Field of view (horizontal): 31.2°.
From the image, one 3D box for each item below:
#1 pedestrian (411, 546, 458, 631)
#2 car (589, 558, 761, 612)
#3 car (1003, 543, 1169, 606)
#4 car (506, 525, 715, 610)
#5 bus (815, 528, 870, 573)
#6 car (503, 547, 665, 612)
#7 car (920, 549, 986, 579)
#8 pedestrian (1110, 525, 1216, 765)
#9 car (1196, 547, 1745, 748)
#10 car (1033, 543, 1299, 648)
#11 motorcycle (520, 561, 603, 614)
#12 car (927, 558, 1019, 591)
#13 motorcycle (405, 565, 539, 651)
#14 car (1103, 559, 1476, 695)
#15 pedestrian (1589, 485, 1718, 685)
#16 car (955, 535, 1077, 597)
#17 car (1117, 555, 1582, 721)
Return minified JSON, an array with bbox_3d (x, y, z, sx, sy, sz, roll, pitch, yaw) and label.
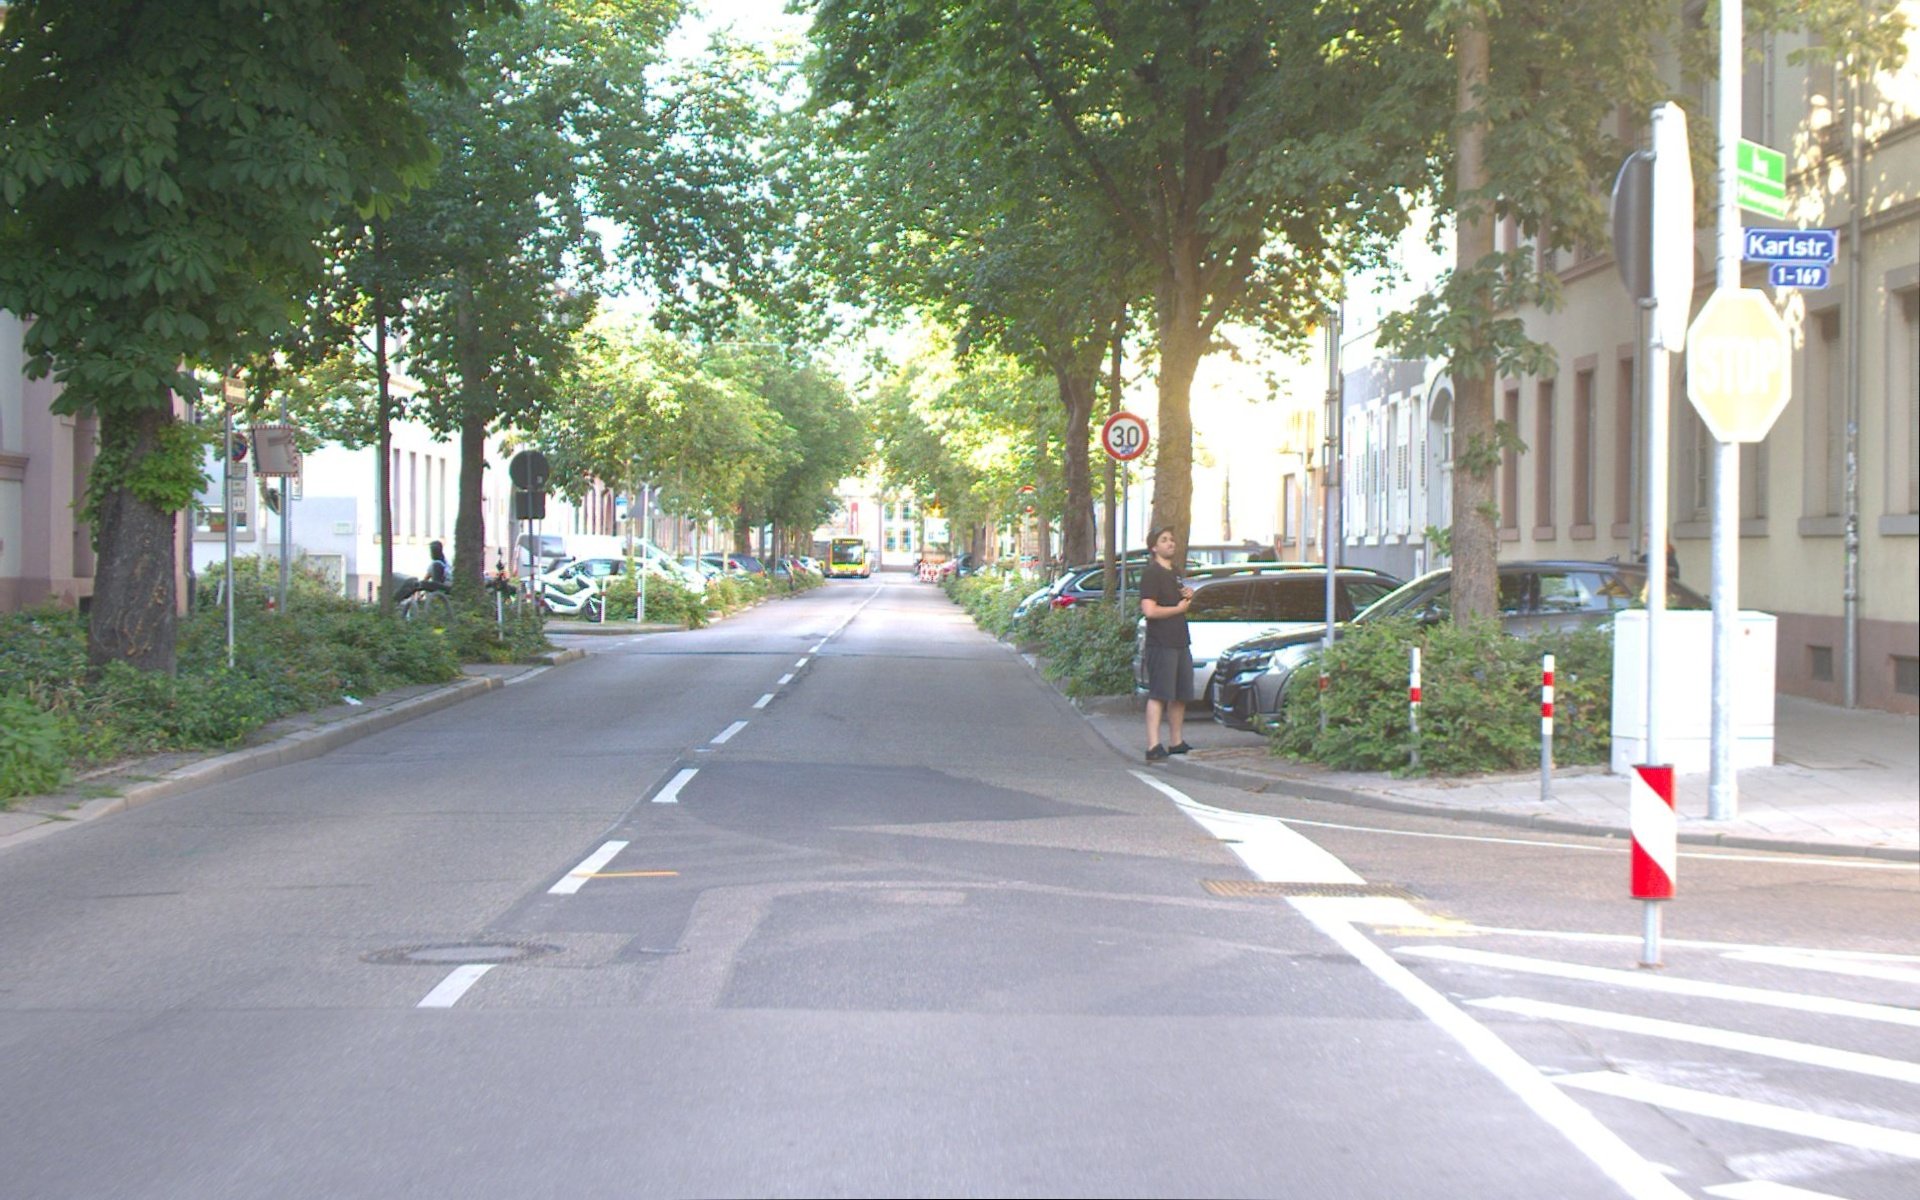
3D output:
[{"bbox_3d":[-8.712,-0.189,57.042,0.655,1.390,0.607,2,0,-1],"label":"pedestrian"},{"bbox_3d":[-8.816,-0.484,106.723,5.064,1.611,2.263,0,1,3],"label":"car"},{"bbox_3d":[3.520,-0.727,96.888,4.593,1.755,2.222,0,1,0],"label":"car"},{"bbox_3d":[-8.768,-0.828,86.650,5.064,2.076,2.263,0,1,-1],"label":"car"},{"bbox_3d":[-8.667,-3.637,252.701,3.027,3.179,9.405,1,1,-8],"label":"bus"},{"bbox_3d":[-8.862,-0.491,81.258,3.725,1.503,1.873,0,1,-4],"label":"car"},{"bbox_3d":[-0.435,-2.302,219.283,3.988,1.831,2.000,1,1,7],"label":"car"},{"bbox_3d":[1.611,0.348,27.246,0.794,1.862,0.751,1,1,4],"label":"pedestrian"},{"bbox_3d":[4.064,0.360,27.845,4.107,1.485,1.850,1,2,-2],"label":"car"},{"bbox_3d":[3.190,-0.081,53.836,4.014,1.617,1.781,0,1,-2],"label":"car"},{"bbox_3d":[-8.345,-0.256,72.069,1.636,1.064,0.656,1,1,-1],"label":"motorcycle"},{"bbox_3d":[0.559,-1.138,151.474,3.986,1.437,1.697,0,1,-2],"label":"car"},{"bbox_3d":[-7.296,0.114,51.472,1.919,1.254,0.591,1,1,-1],"label":"motorcycle"},{"bbox_3d":[3.702,0.291,39.107,4.014,1.475,1.781,0,1,-2],"label":"car"},{"bbox_3d":[5.999,-0.139,29.776,0.943,1.700,0.782,1,2,1],"label":"pedestrian"},{"bbox_3d":[1.893,-1.139,115.477,3.987,2.007,2.000,1,1,3],"label":"car"},{"bbox_3d":[3.654,0.338,32.809,4.192,1.475,1.852,-1,1,0],"label":"car"}]
